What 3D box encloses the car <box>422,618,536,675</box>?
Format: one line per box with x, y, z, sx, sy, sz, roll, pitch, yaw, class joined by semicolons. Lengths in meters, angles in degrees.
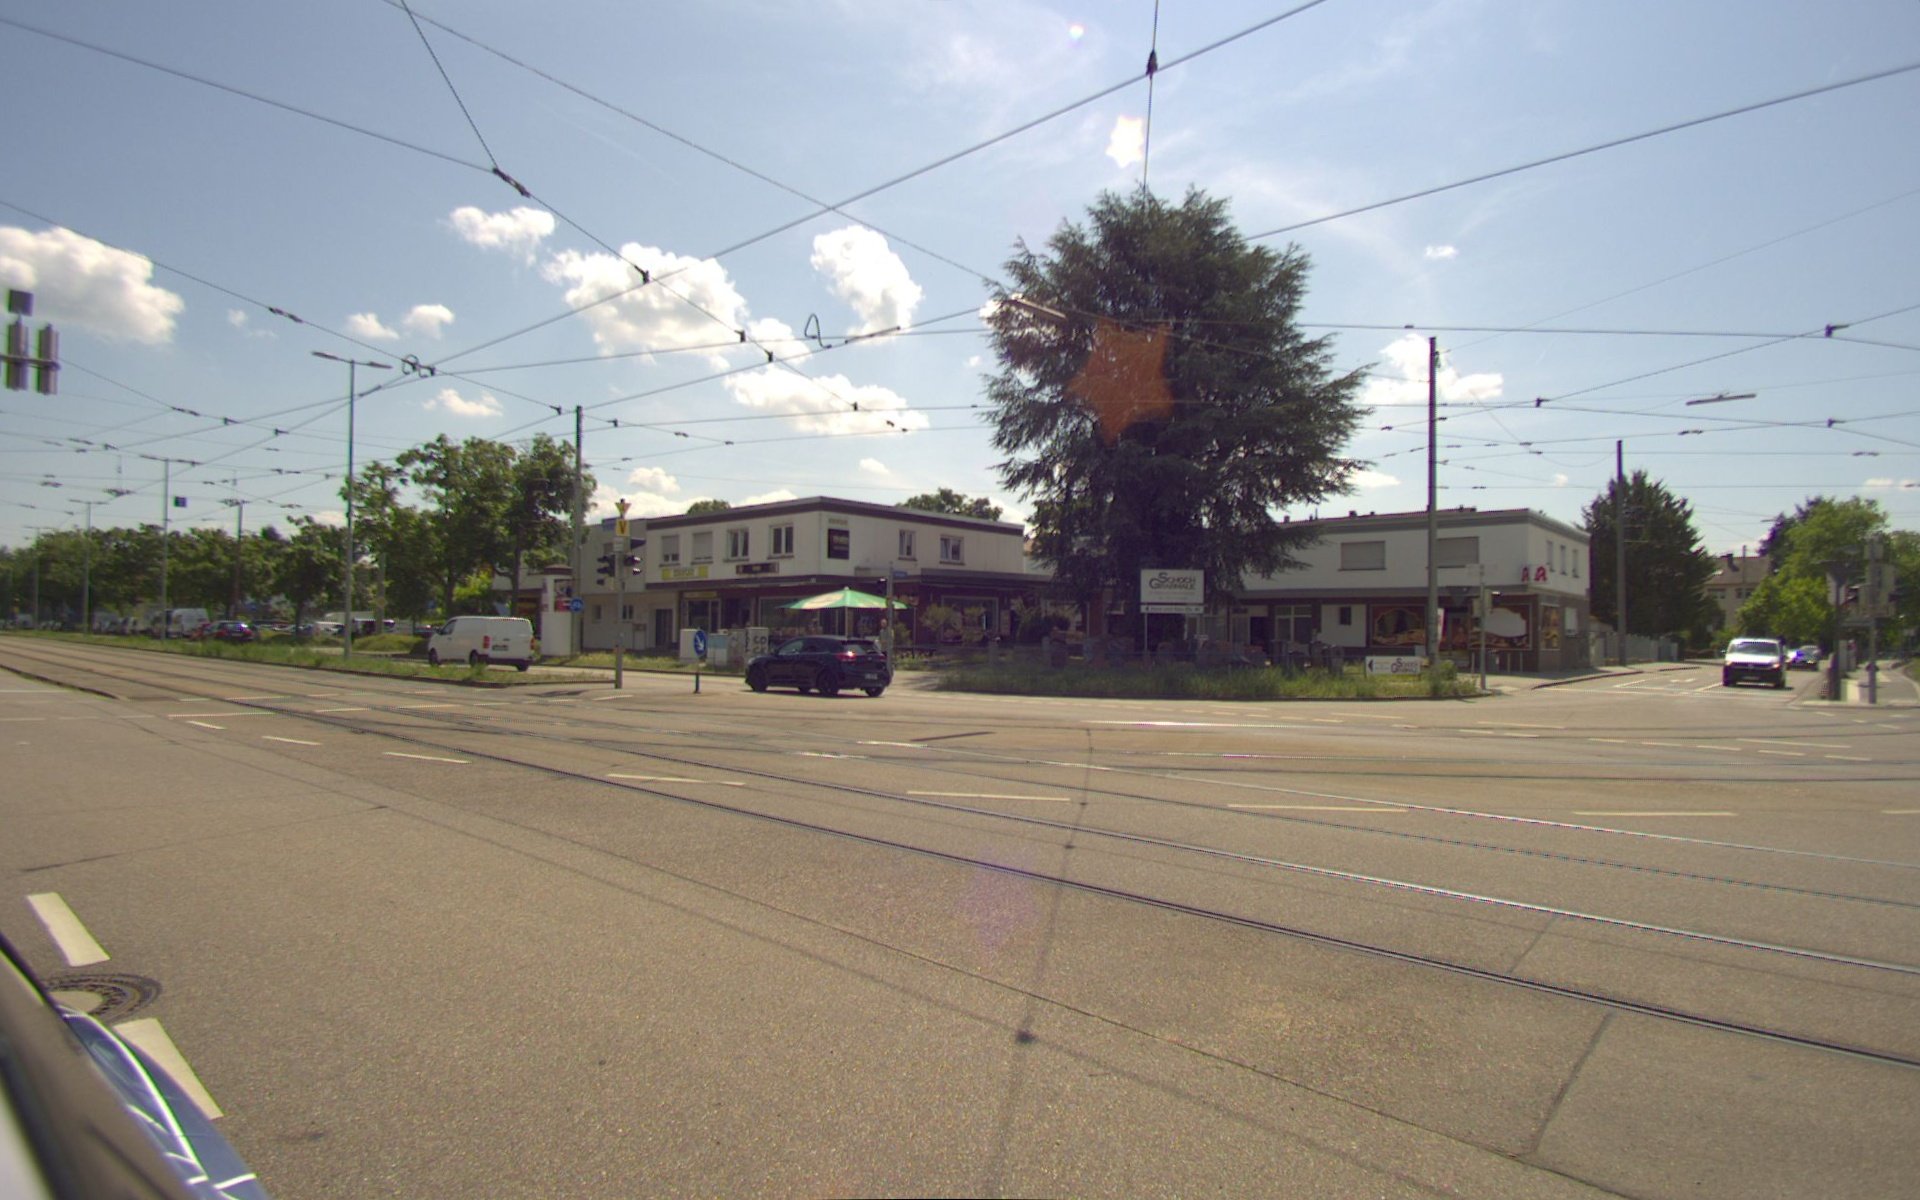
-17.117;1.629;35.915;4.550;1.890;1.840;-1;-3;39;car

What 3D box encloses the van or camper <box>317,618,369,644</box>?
-78.498;3.966;128.774;2.246;3.141;5.090;-1;-3;42;van or camper

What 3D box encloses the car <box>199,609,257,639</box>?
-40.762;1.347;56.310;3.998;1.608;1.722;-1;-3;41;car

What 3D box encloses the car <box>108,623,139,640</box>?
-85.207;3.212;103.096;3.998;1.706;1.722;-1;-3;41;car

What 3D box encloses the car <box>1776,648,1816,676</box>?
56.296;4.128;68.211;1.998;1.801;3.947;-1;-3;39;car

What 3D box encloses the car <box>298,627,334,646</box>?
-59.083;3.333;92.849;3.998;1.706;1.722;-1;-3;41;car

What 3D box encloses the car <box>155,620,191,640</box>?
-67.972;2.614;87.385;3.998;1.706;1.722;-1;-3;41;car

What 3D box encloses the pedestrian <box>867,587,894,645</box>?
-2.498;0.502;31.806;0.679;1.788;0.484;0;2;23;pedestrian

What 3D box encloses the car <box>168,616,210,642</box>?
-62.954;2.376;82.624;3.998;1.980;1.941;-1;-3;41;car

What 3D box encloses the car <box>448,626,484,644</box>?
-48.644;3.449;99.674;3.998;1.706;1.722;-1;-3;41;car

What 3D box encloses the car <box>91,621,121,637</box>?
-90.204;3.057;106.889;3.998;1.706;1.722;-1;-3;41;car

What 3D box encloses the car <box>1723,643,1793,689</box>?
32.150;2.635;40.738;1.999;1.741;3.944;-1;-3;41;car

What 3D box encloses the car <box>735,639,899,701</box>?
-3.547;1.660;24.731;3.998;1.364;1.761;-1;-3;41;car

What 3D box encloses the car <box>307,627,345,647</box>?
-55.661;3.215;88.843;3.998;1.706;1.722;-1;-3;41;car

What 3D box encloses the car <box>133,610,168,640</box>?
-73.987;2.284;92.462;3.998;2.608;1.722;-1;-3;41;car

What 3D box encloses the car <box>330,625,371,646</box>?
-49.938;2.892;82.895;3.998;1.706;1.722;-1;-3;41;car

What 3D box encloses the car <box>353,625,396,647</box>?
-46.328;2.849;80.061;3.998;1.706;1.722;-1;-3;41;car

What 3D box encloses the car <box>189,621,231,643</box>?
-58.017;2.471;78.273;3.998;1.608;1.722;-1;-3;41;car

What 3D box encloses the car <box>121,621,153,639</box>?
-80.242;2.907;98.613;3.998;1.706;1.722;-1;-3;41;car
